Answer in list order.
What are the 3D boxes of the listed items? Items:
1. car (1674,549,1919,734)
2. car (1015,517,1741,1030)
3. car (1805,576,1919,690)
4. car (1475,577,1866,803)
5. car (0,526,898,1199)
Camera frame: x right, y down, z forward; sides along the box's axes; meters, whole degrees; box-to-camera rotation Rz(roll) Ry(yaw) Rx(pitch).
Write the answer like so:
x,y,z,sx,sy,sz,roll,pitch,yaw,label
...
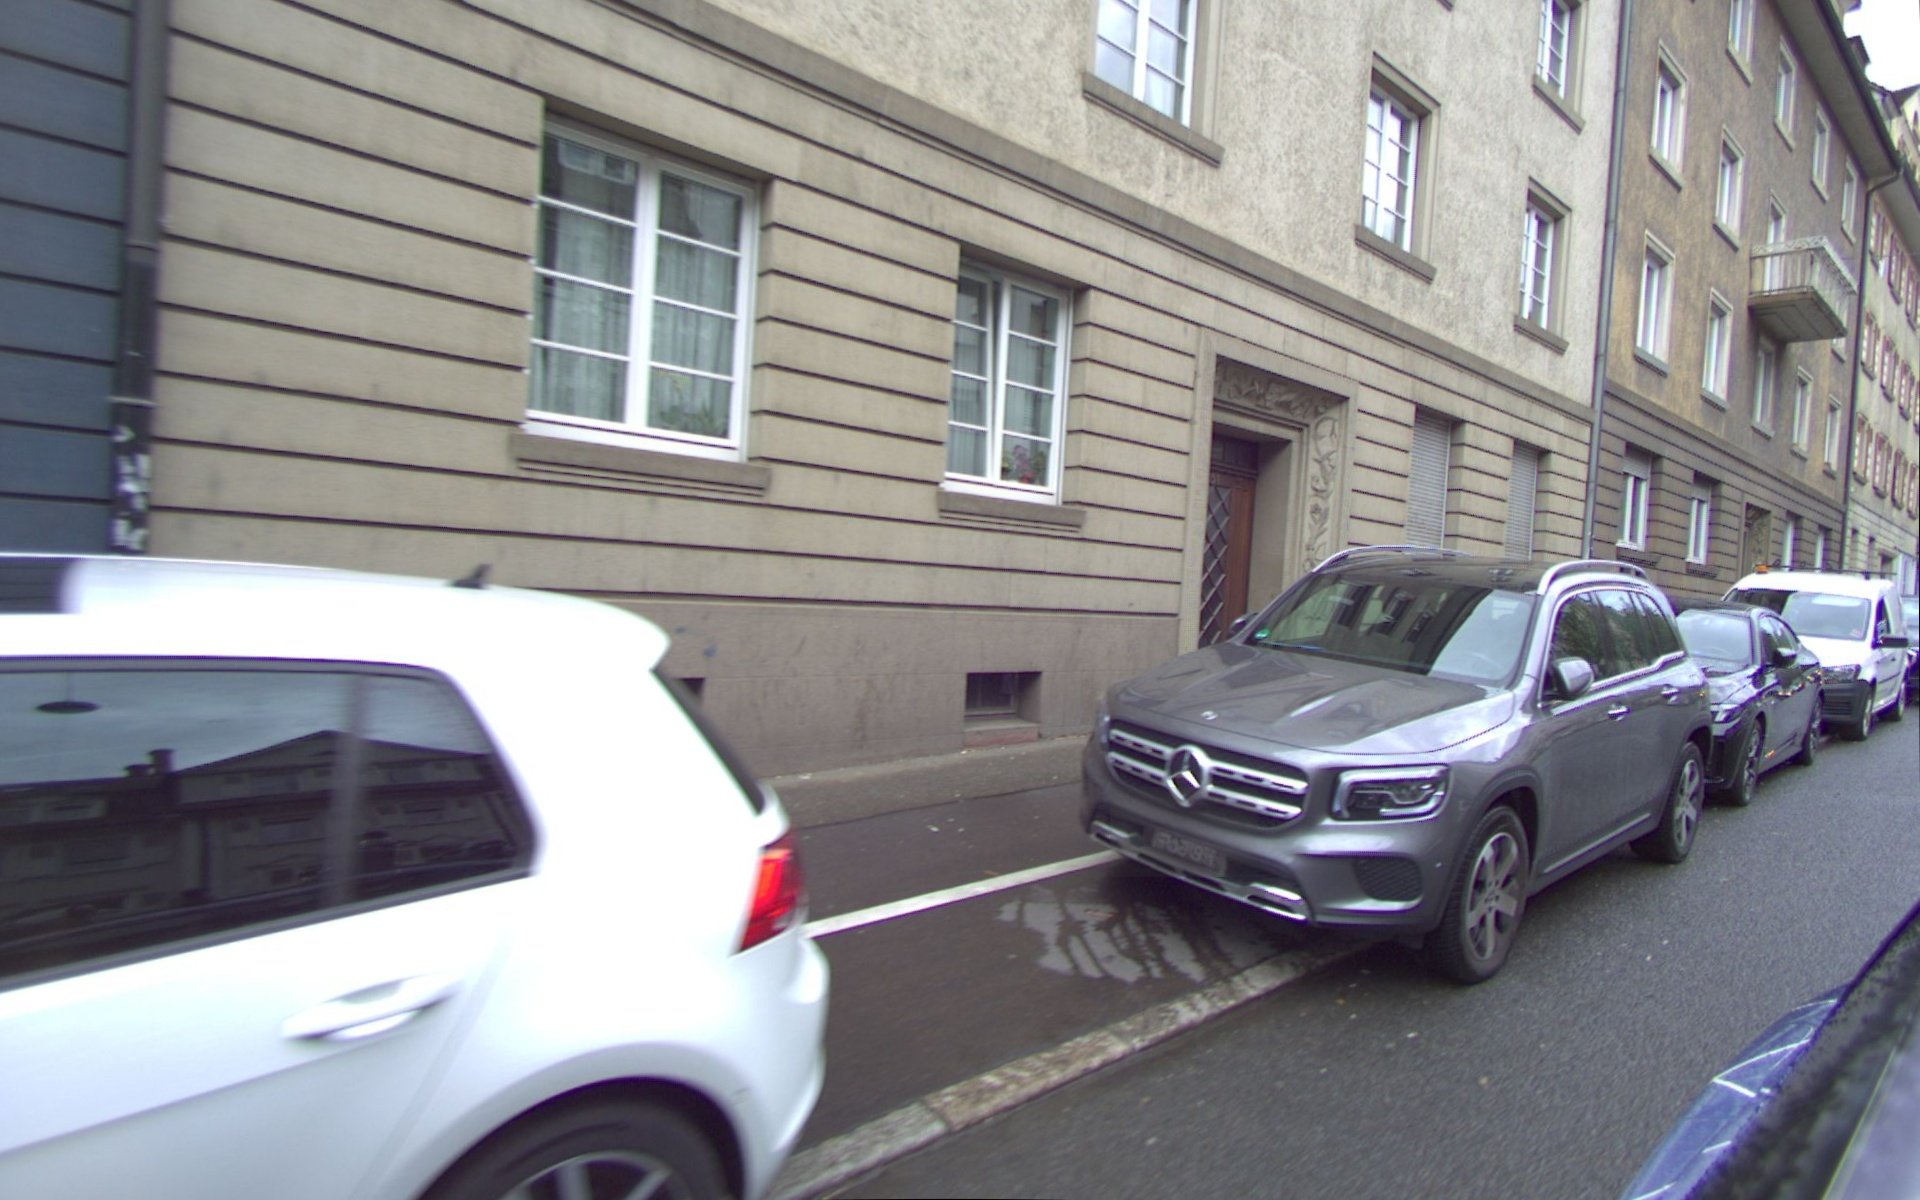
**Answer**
x,y,z,sx,sy,sz,roll,pitch,yaw,label
10.477,0.395,12.429,4.008,1.839,1.795,0,4,-41,car
2.426,0.482,5.313,4.136,1.640,1.844,-1,4,-42,car
15.110,0.477,16.095,4.150,1.566,1.795,0,4,-40,car
6.485,0.588,9.045,4.312,1.426,1.845,0,5,-42,car
-2.191,0.629,1.411,3.904,1.446,1.734,0,5,-41,car
